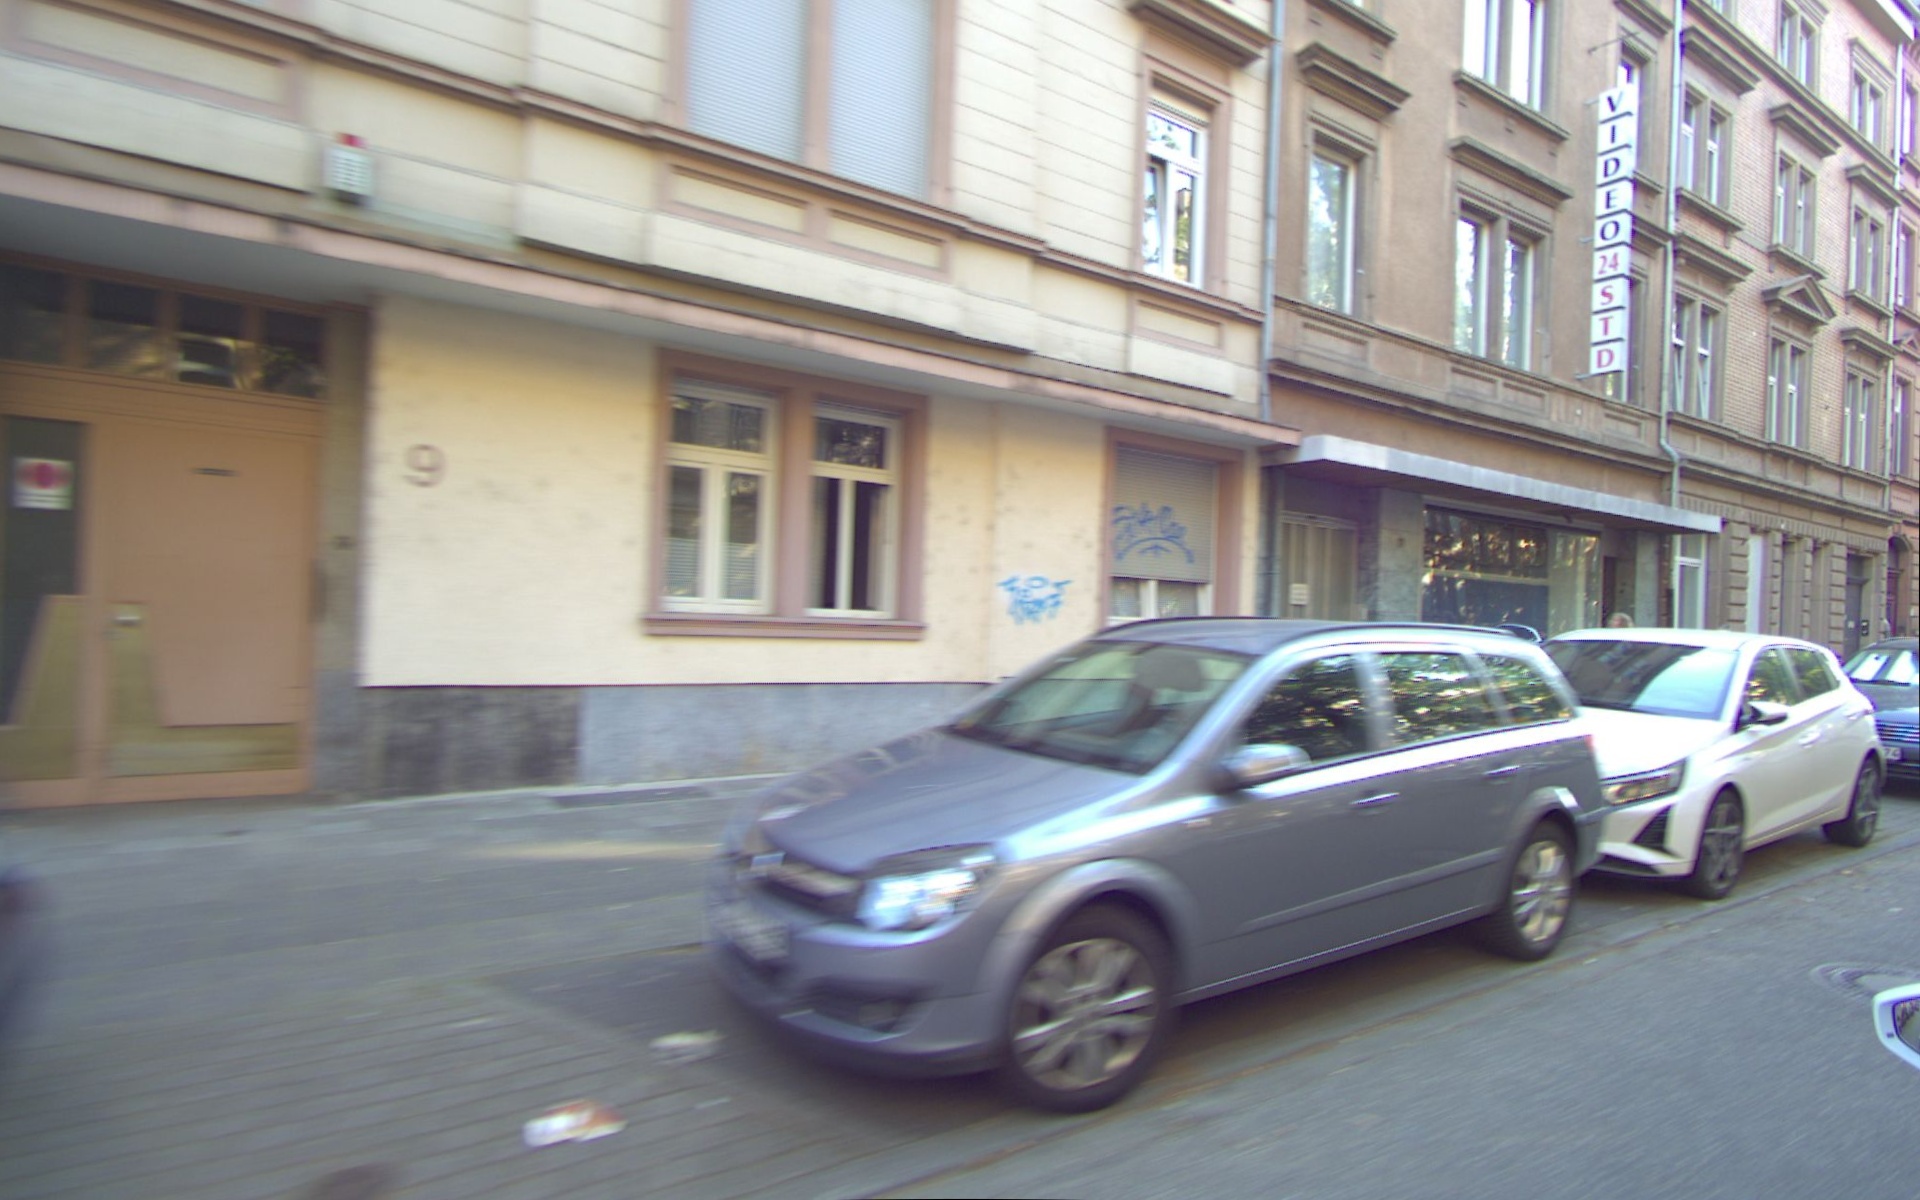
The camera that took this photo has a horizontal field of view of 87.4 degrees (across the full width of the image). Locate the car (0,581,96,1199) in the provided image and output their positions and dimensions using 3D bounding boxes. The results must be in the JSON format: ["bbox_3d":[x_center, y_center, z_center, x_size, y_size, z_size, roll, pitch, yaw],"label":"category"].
[{"bbox_3d":[-3.937,0.646,1.172,4.200,1.492,1.736,2,0,-34],"label":"car"}]

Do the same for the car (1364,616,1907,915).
[{"bbox_3d":[4.821,0.913,7.009,4.045,1.492,1.746,2,-1,-34],"label":"car"}]

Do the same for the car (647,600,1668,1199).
[{"bbox_3d":[1.137,0.804,4.501,4.496,1.463,1.874,2,0,-34],"label":"car"}]

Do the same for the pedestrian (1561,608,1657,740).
[{"bbox_3d":[8.508,0.945,13.167,1.008,1.653,0.691,2,0,-34],"label":"pedestrian"}]

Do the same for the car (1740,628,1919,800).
[{"bbox_3d":[10.220,1.091,10.496,4.439,1.492,1.852,2,-1,-32],"label":"car"}]
